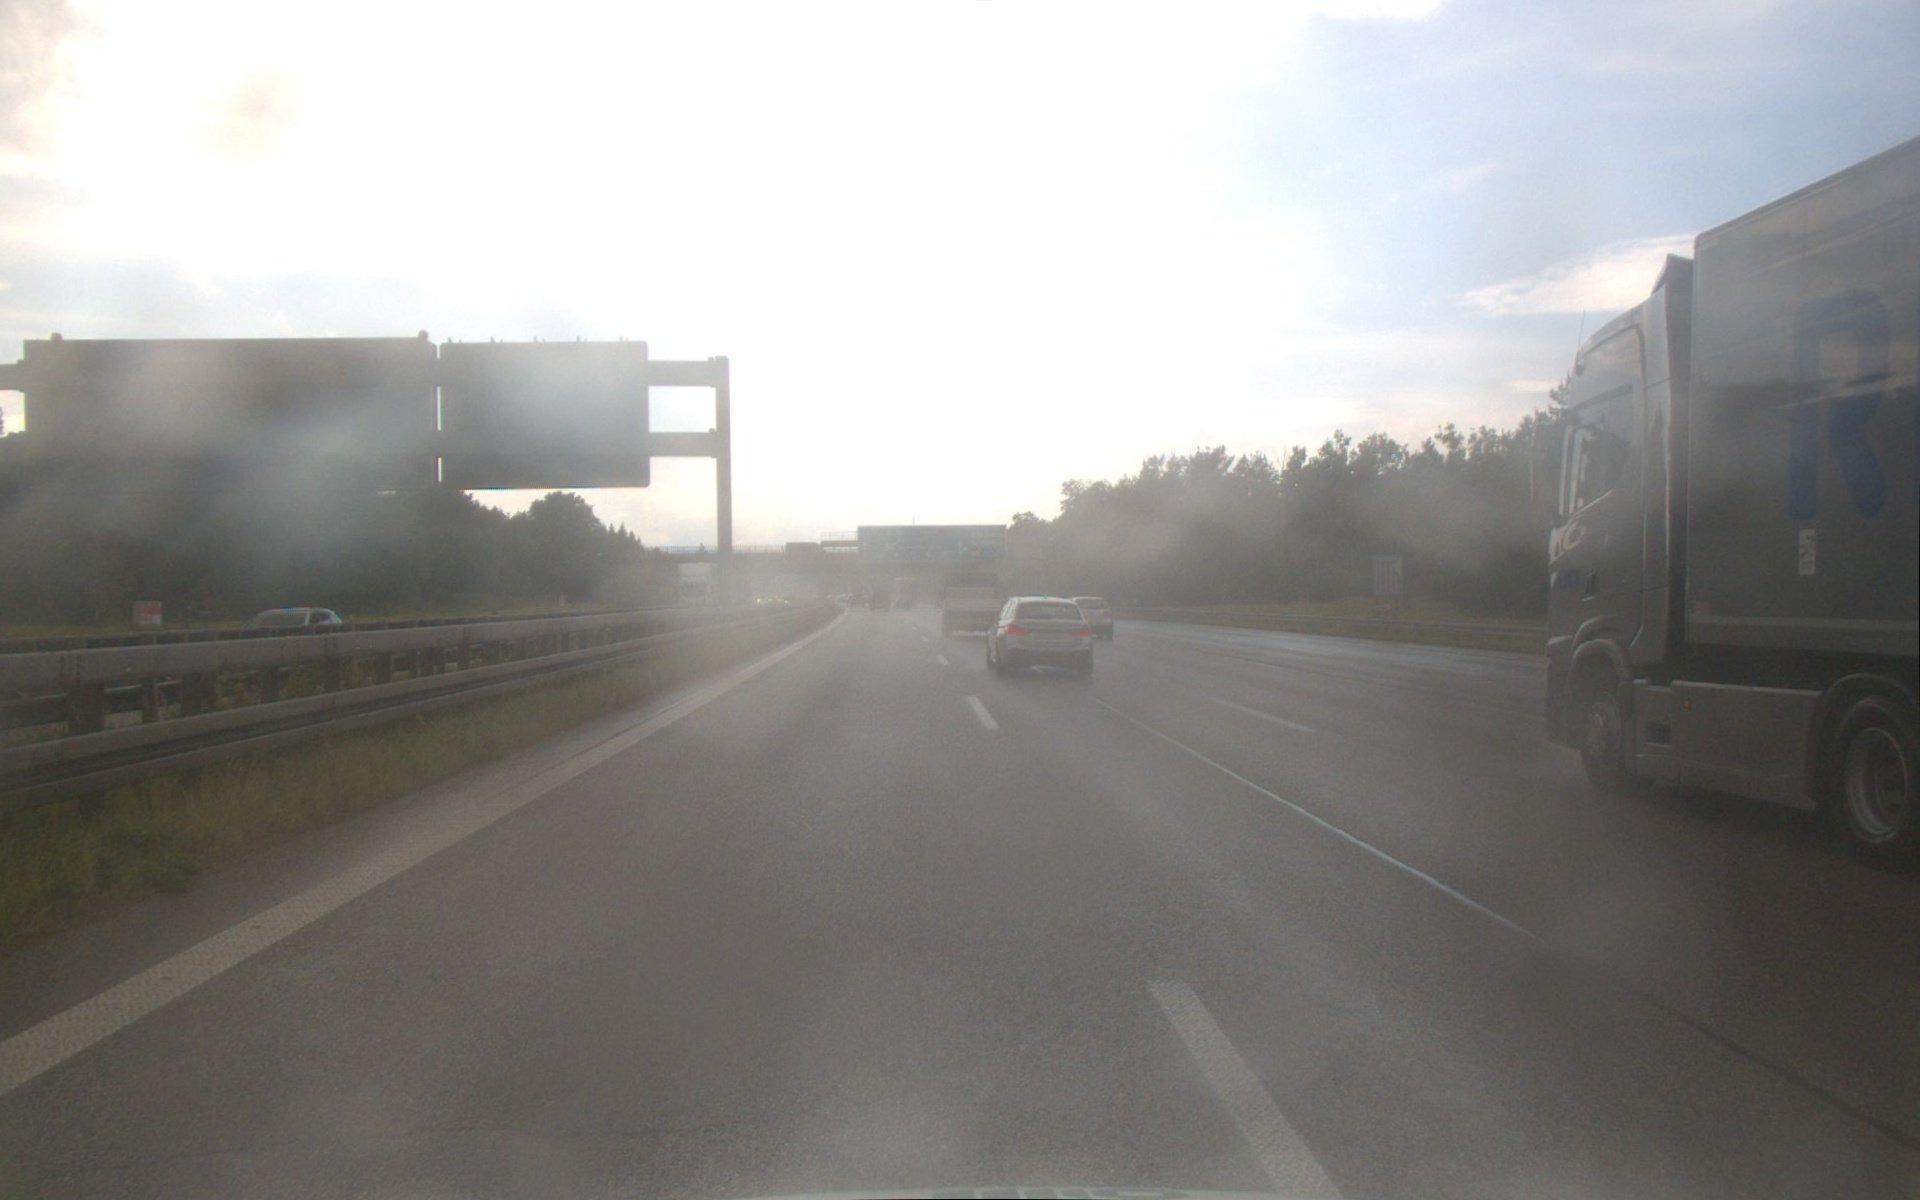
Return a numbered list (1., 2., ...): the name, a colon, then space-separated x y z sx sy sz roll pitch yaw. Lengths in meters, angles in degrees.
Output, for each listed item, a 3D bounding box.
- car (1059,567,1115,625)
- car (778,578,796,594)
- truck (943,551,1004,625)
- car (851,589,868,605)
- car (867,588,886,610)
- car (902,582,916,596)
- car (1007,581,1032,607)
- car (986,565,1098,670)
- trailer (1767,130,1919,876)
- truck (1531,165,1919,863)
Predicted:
1. car: 4.633 -0.164 60.779 1.868 2.049 4.001 1 1 2
2. car: -22.709 -1.814 217.339 1.953 2.049 3.999 0 0 -1
3. truck: 0.527 -0.436 59.913 2.093 2.532 5.314 0 1 2
4. car: -12.930 -0.404 212.697 1.953 2.049 3.999 0 0 -1
5. car: -7.881 -0.131 156.708 1.640 2.049 3.999 1 1 -1
6. car: -7.497 -1.592 244.669 1.953 2.049 3.999 1 1 -1
7. car: 4.903 -0.472 135.682 1.952 2.049 4.001 1 0 2
8. car: 1.584 0.307 32.649 2.034 1.918 5.012 0 0 2
9. trailer: 6.546 -0.492 3.949 2.277 4.071 13.407 0 0 -2
10. truck: 6.283 -0.497 12.057 2.247 3.935 5.390 0 0 -2
